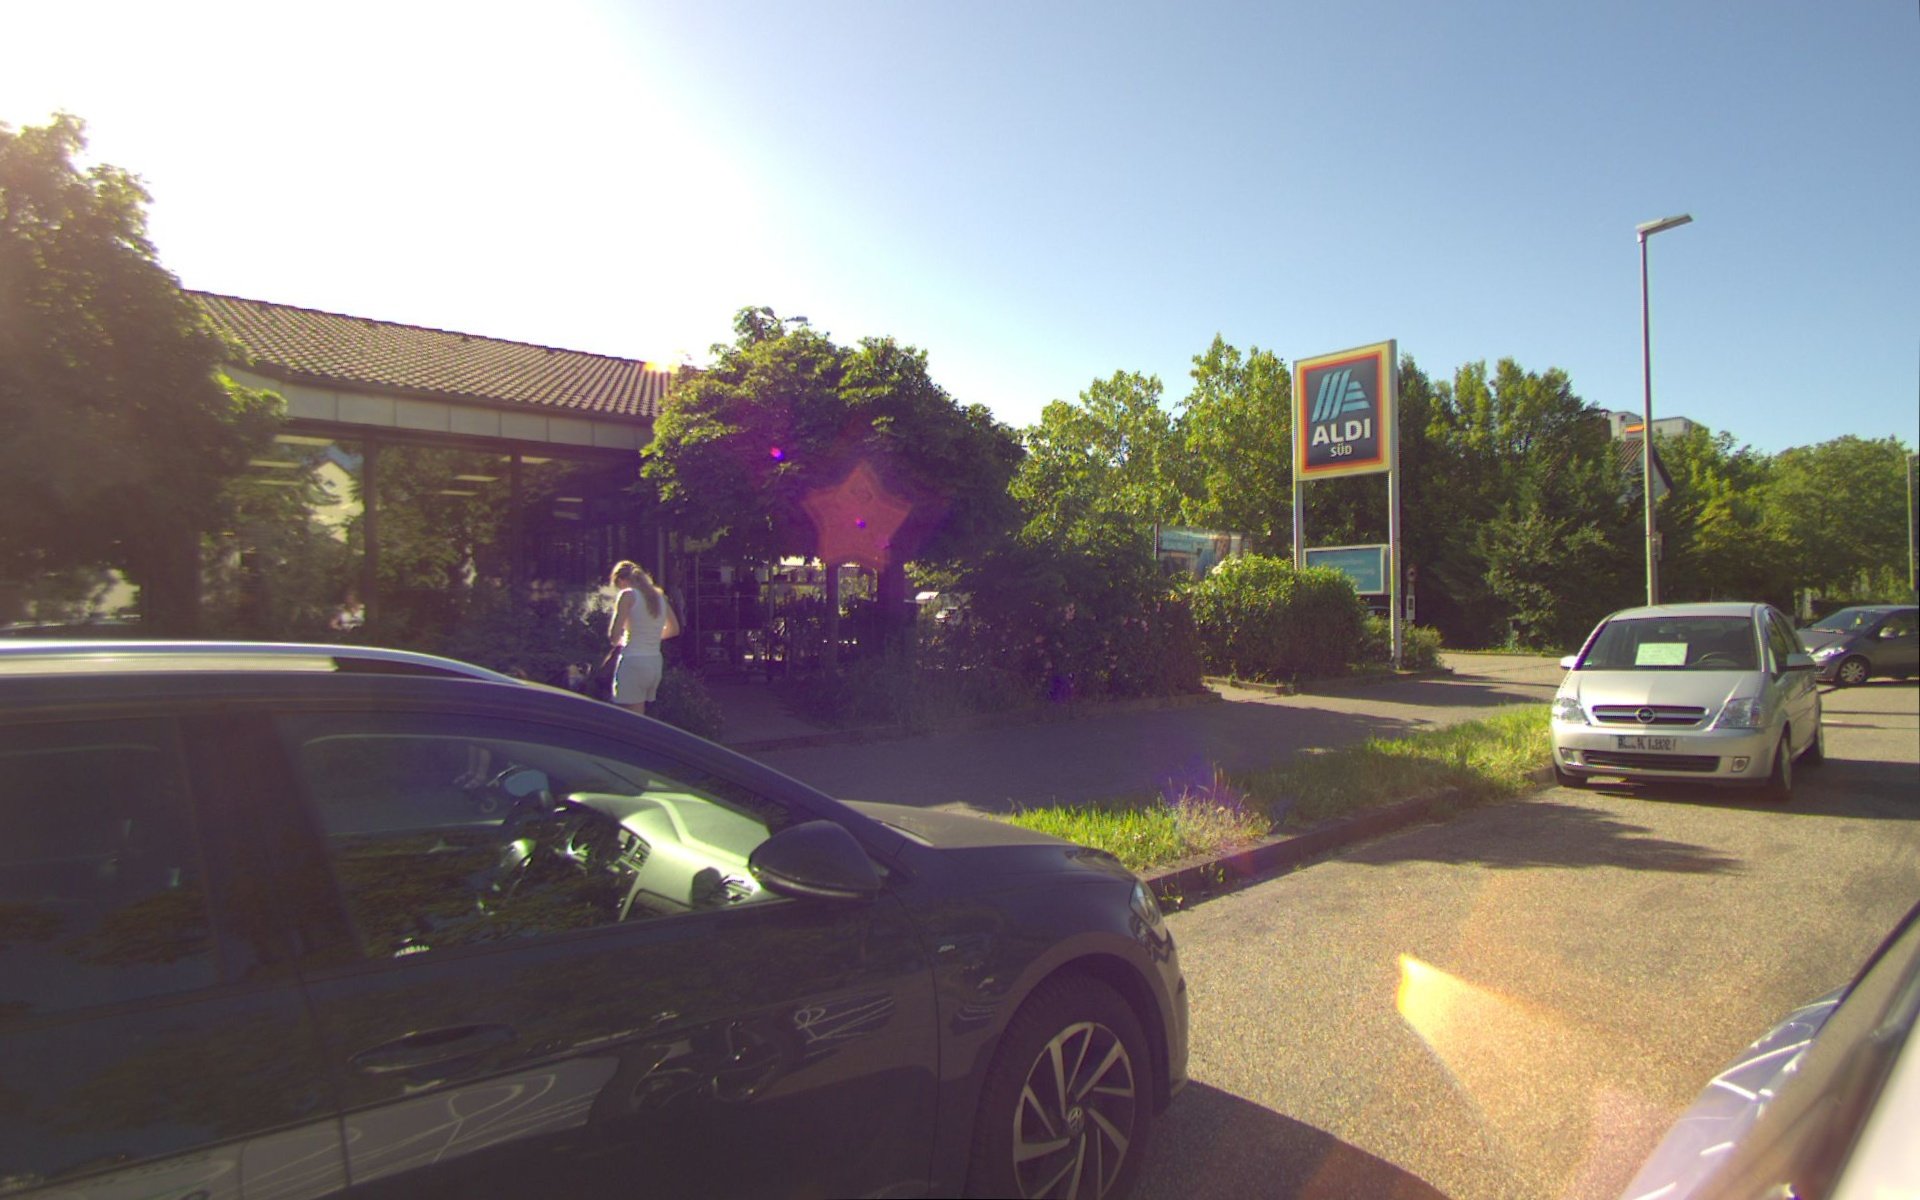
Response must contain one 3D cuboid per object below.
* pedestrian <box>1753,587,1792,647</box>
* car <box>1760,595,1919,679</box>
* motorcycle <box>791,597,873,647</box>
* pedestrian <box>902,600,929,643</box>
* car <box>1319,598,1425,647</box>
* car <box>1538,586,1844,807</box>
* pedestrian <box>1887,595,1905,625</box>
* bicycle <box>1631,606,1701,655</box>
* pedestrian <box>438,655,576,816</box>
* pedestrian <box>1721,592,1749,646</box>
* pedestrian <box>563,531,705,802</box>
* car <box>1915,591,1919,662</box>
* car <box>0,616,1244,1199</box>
[{"bbox_3d":[24.493,0.500,30.521,0.968,1.738,0.804,-2,2,-44],"label":"pedestrian"},{"bbox_3d":[19.304,0.743,21.109,3.686,1.666,1.855,0,-1,2],"label":"car"},{"bbox_3d":[-4.070,0.675,32.324,2.552,1.528,0.871,0,-1,-41],"label":"motorcycle"},{"bbox_3d":[-1.763,0.843,40.197,0.814,1.677,0.672,1,-1,-42],"label":"pedestrian"},{"bbox_3d":[13.629,0.697,33.392,3.736,1.522,1.775,0,-1,-41],"label":"car"},{"bbox_3d":[6.955,0.705,9.464,3.963,1.619,1.680,-1,-1,-45],"label":"car"},{"bbox_3d":[52.294,0.549,56.546,0.629,1.659,0.641,0,-1,-38],"label":"pedestrian"},{"bbox_3d":[19.120,0.814,27.406,1.857,1.236,0.724,-1,2,-25],"label":"bicycle"},{"bbox_3d":[-3.139,0.902,7.010,0.794,0.993,0.534,0,-1,-33],"label":"pedestrian"},{"bbox_3d":[23.908,0.582,31.213,0.780,1.629,0.573,-2,2,-45],"label":"pedestrian"},{"bbox_3d":[-2.355,0.446,7.291,0.793,1.804,0.801,0,-1,-33],"label":"pedestrian"},{"bbox_3d":[27.015,0.657,26.918,4.571,1.828,1.843,-1,-1,-40],"label":"car"},{"bbox_3d":[-1.426,0.792,2.070,4.287,1.462,1.810,0,-1,-41],"label":"car"}]
